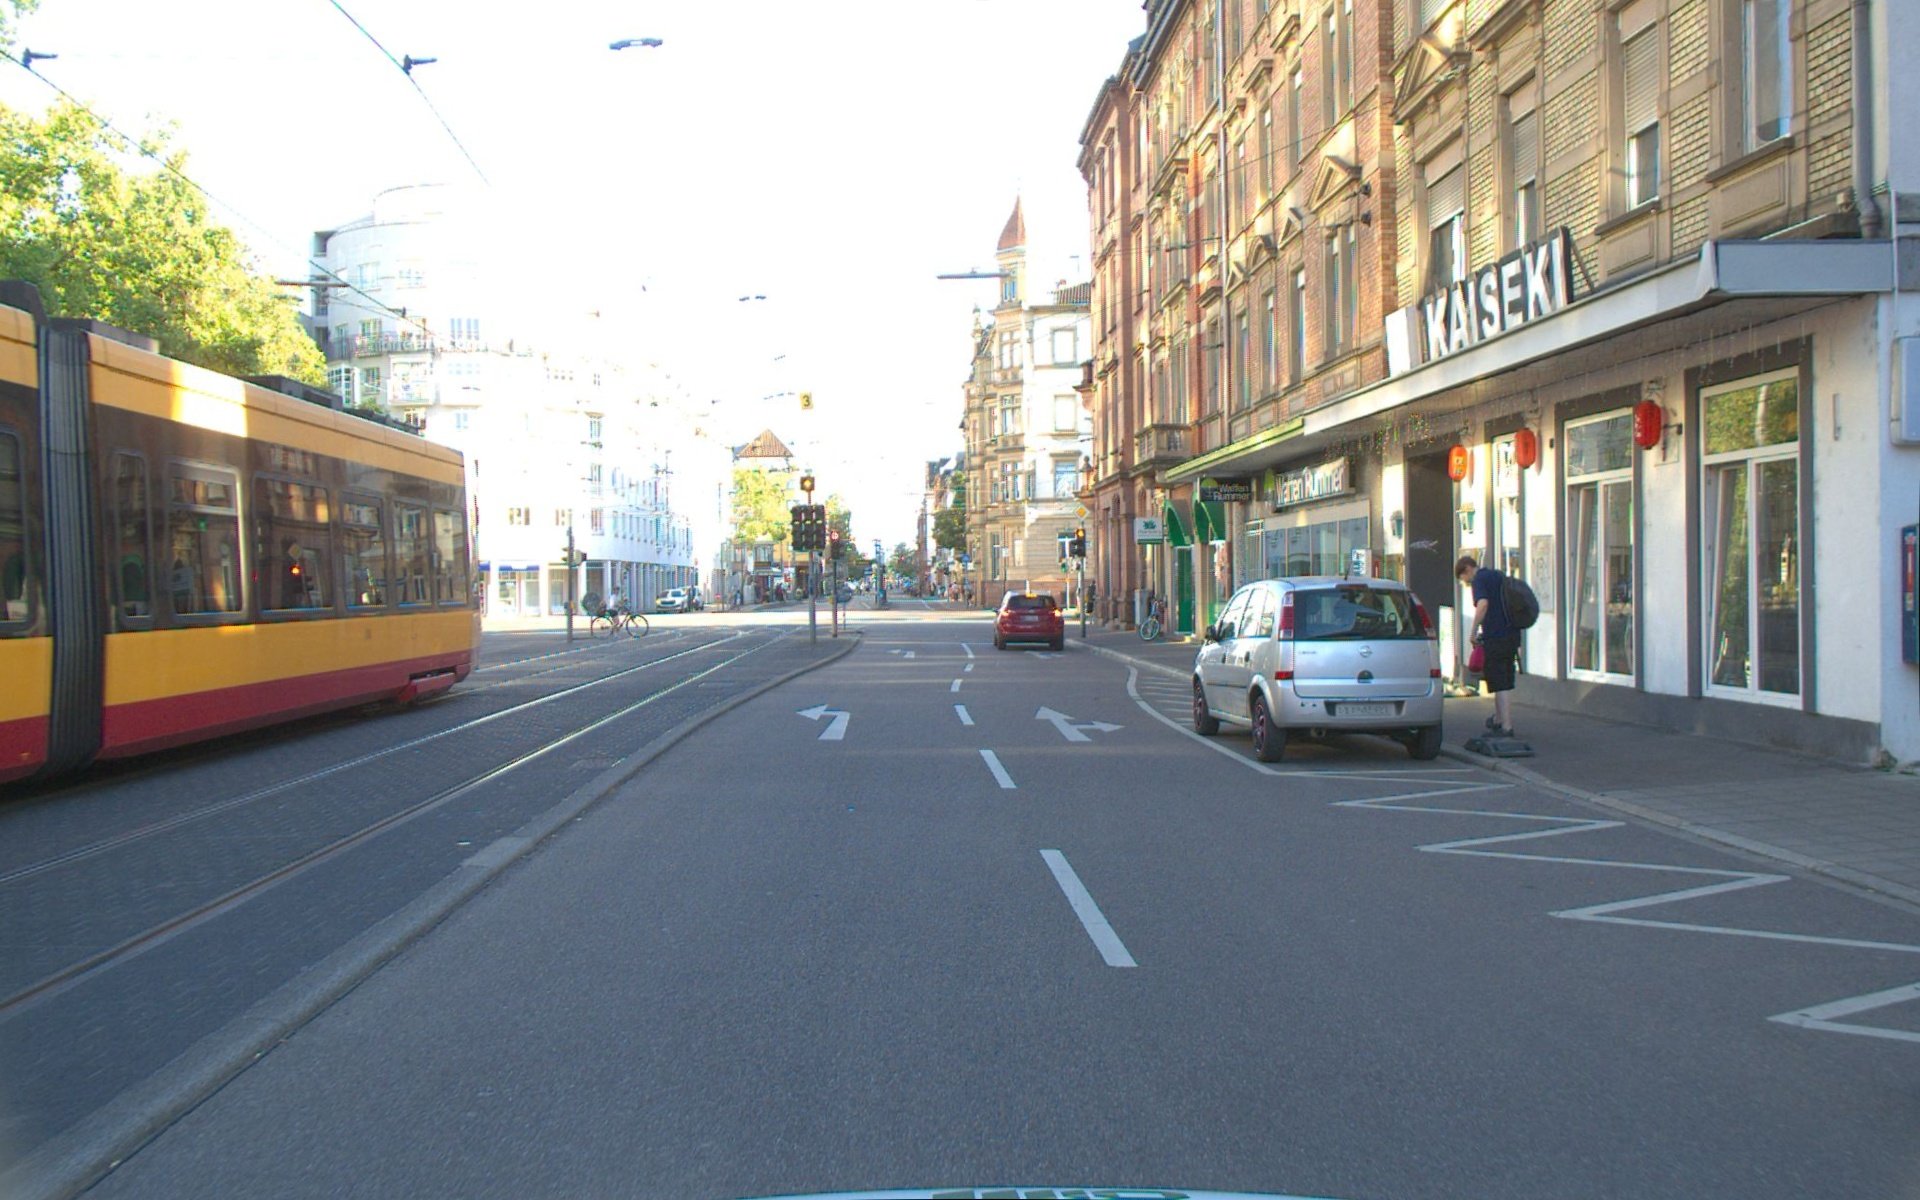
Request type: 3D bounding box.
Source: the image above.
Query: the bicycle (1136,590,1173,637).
[{"bbox_3d":[5.197,0.352,44.103,0.700,1.172,1.656,-2,0,16],"label":"bicycle"}]

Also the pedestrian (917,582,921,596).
[{"bbox_3d":[-5.717,-1.559,232.800,0.565,1.920,0.630,-1,0,-2],"label":"pedestrian"}]

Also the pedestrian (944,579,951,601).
[{"bbox_3d":[-1.200,-0.972,156.070,0.565,2.049,0.631,-1,0,4],"label":"pedestrian"}]

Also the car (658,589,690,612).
[{"bbox_3d":[-20.194,0.016,116.794,1.730,1.573,3.460,-1,0,-1],"label":"car"}]

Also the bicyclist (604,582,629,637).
[{"bbox_3d":[-10.509,0.298,50.612,0.717,1.655,0.763,0,0,-12],"label":"bicyclist"}]

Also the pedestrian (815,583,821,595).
[{"bbox_3d":[-20.060,-1.535,233.621,0.619,1.632,0.576,-1,0,-19],"label":"pedestrian"}]

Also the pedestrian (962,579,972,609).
[{"bbox_3d":[0.455,-0.437,115.588,0.638,2.049,0.759,-1,0,-3],"label":"pedestrian"}]

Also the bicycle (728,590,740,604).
[{"bbox_3d":[-19.397,-0.287,141.980,0.791,1.167,2.009,-1,0,-2],"label":"bicycle"}]

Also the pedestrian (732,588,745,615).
[{"bbox_3d":[-14.706,0.075,109.716,0.752,1.761,0.572,-1,0,0],"label":"pedestrian"}]

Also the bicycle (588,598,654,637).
[{"bbox_3d":[-10.450,0.534,51.022,1.983,1.198,0.626,0,0,-13],"label":"bicycle"}]

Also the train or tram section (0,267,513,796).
[{"bbox_3d":[-7.571,-0.463,17.681,2.622,3.613,12.834,-1,0,-3],"label":"train or tram section"}]

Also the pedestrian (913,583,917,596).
[{"bbox_3d":[-6.595,-1.523,240.830,0.565,1.920,0.669,-1,0,-2],"label":"pedestrian"}]

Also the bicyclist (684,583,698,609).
[{"bbox_3d":[-18.235,-0.249,112.217,0.791,1.756,0.794,-1,0,-2],"label":"bicyclist"}]

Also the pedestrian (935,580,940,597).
[{"bbox_3d":[-2.750,-1.407,198.360,0.565,2.049,0.630,-1,0,-2],"label":"pedestrian"}]

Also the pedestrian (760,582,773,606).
[{"bbox_3d":[-16.576,-0.542,141.607,1.025,2.049,0.958,-1,0,-5],"label":"pedestrian"}]

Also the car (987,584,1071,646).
[{"bbox_3d":[1.731,0.357,42.641,1.719,1.492,3.942,1,0,-4],"label":"car"}]

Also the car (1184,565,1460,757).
[{"bbox_3d":[3.392,0.513,16.216,1.605,1.643,3.942,0,0,-4],"label":"car"}]

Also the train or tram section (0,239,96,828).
[{"bbox_3d":[-6.976,-0.381,5.663,2.622,3.613,11.120,-1,0,-3],"label":"train or tram section"}]

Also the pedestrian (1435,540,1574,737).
[{"bbox_3d":[5.282,0.359,16.105,0.927,1.824,1.054,-2,0,-3],"label":"pedestrian"}]

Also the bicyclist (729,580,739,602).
[{"bbox_3d":[-19.396,-0.756,141.894,0.791,1.853,0.993,-1,0,-2],"label":"bicyclist"}]

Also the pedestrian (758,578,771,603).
[{"bbox_3d":[-16.253,-0.786,137.312,0.937,2.049,1.048,-1,0,-2],"label":"pedestrian"}]

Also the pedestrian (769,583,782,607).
[{"bbox_3d":[-16.026,-0.465,143.570,1.025,2.049,0.958,-1,0,-5],"label":"pedestrian"}]

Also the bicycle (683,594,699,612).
[{"bbox_3d":[-18.223,0.183,112.026,0.791,1.167,2.049,-1,0,-2],"label":"bicycle"}]
